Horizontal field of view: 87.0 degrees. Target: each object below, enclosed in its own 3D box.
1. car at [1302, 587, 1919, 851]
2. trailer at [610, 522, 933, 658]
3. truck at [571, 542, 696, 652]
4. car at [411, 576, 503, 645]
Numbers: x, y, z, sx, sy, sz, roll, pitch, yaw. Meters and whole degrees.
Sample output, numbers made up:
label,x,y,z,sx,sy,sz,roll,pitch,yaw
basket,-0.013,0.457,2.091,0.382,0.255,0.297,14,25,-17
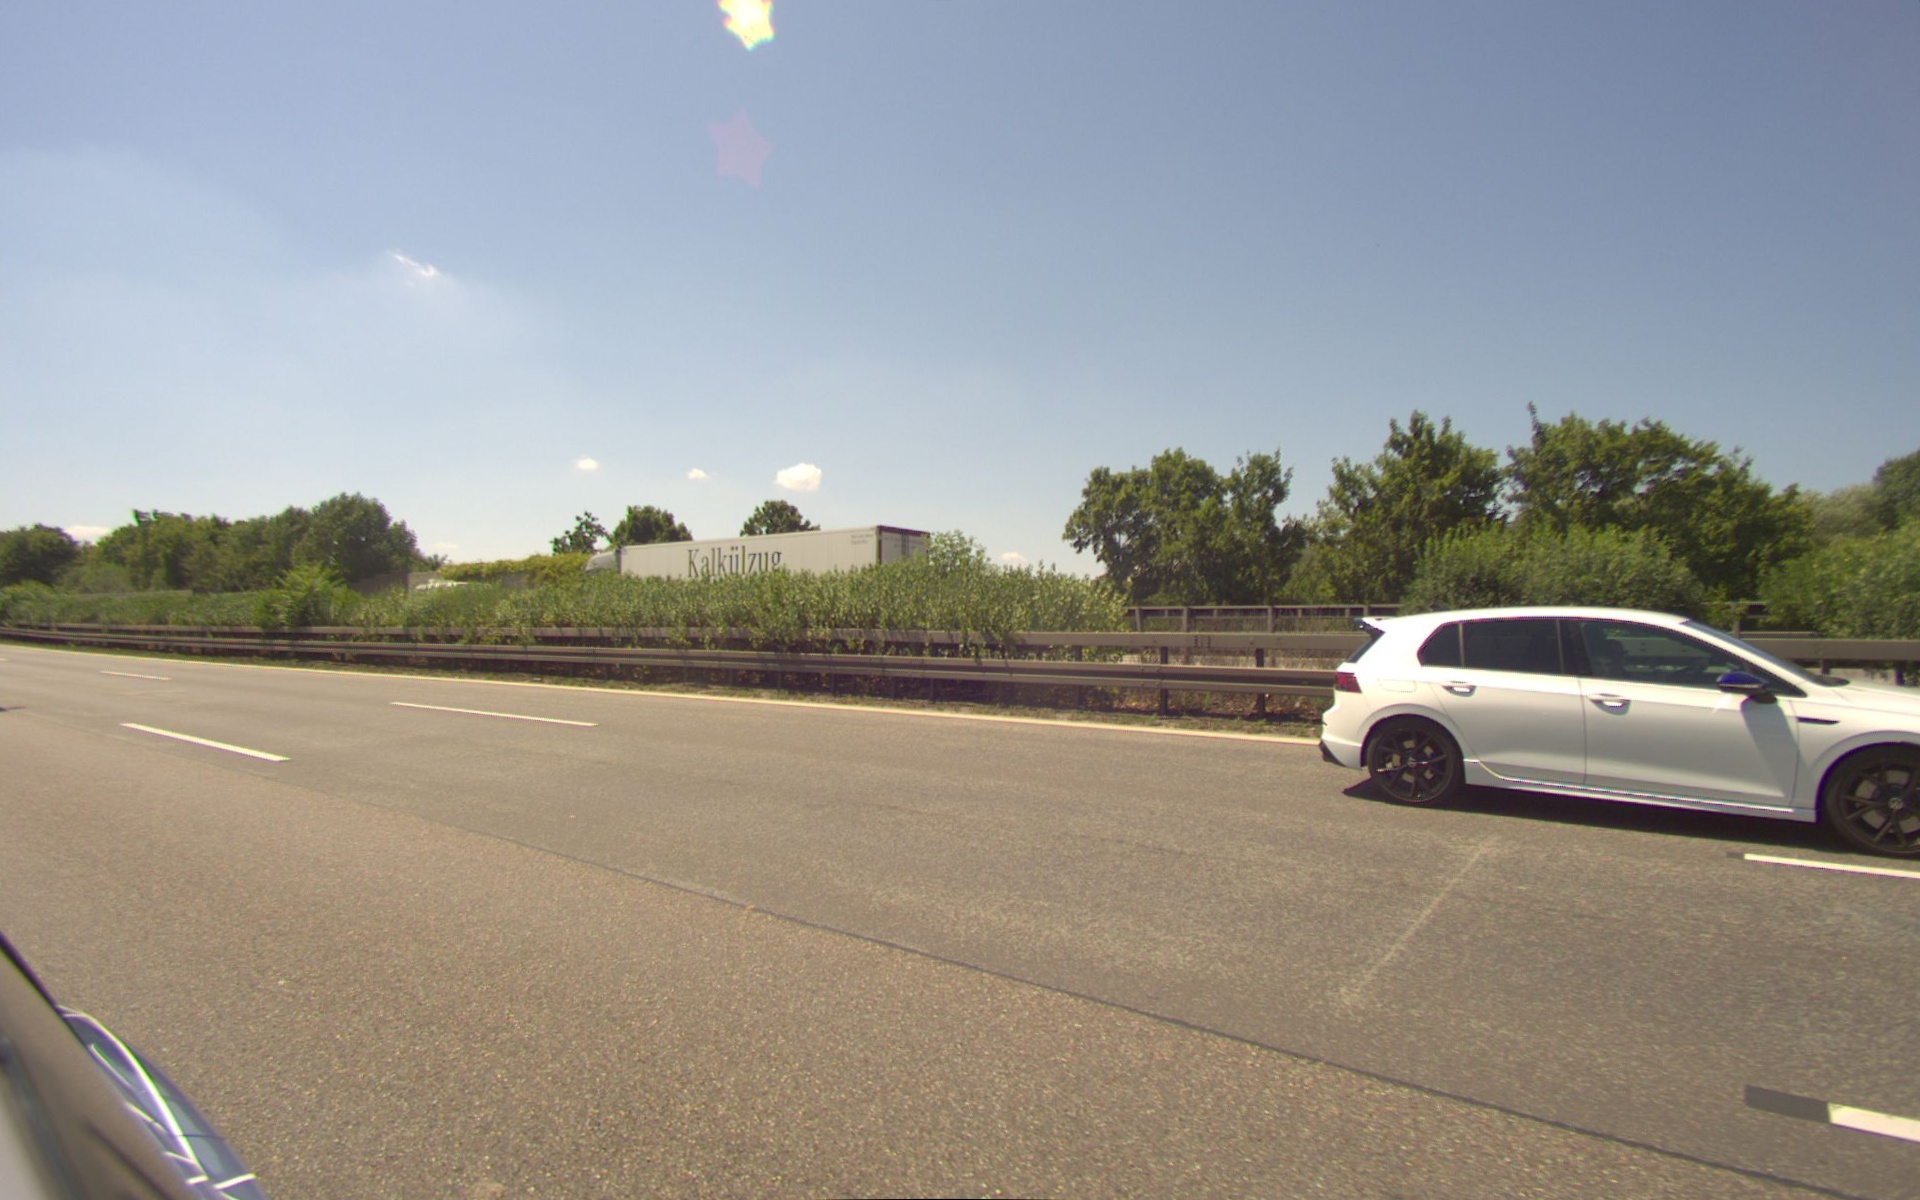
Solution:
label,x,y,z,sx,sy,sz,roll,pitch,yaw
car,4.985,0.692,6.971,4.663,1.451,1.764,-1,-2,39
trailer,-7.297,-0.177,36.357,14.205,4.165,2.581,-1,-1,37
truck,-13.210,-0.076,40.880,4.741,4.187,2.581,-1,-1,38
car,-21.392,0.459,43.022,3.994,2.786,1.975,-1,-1,38
